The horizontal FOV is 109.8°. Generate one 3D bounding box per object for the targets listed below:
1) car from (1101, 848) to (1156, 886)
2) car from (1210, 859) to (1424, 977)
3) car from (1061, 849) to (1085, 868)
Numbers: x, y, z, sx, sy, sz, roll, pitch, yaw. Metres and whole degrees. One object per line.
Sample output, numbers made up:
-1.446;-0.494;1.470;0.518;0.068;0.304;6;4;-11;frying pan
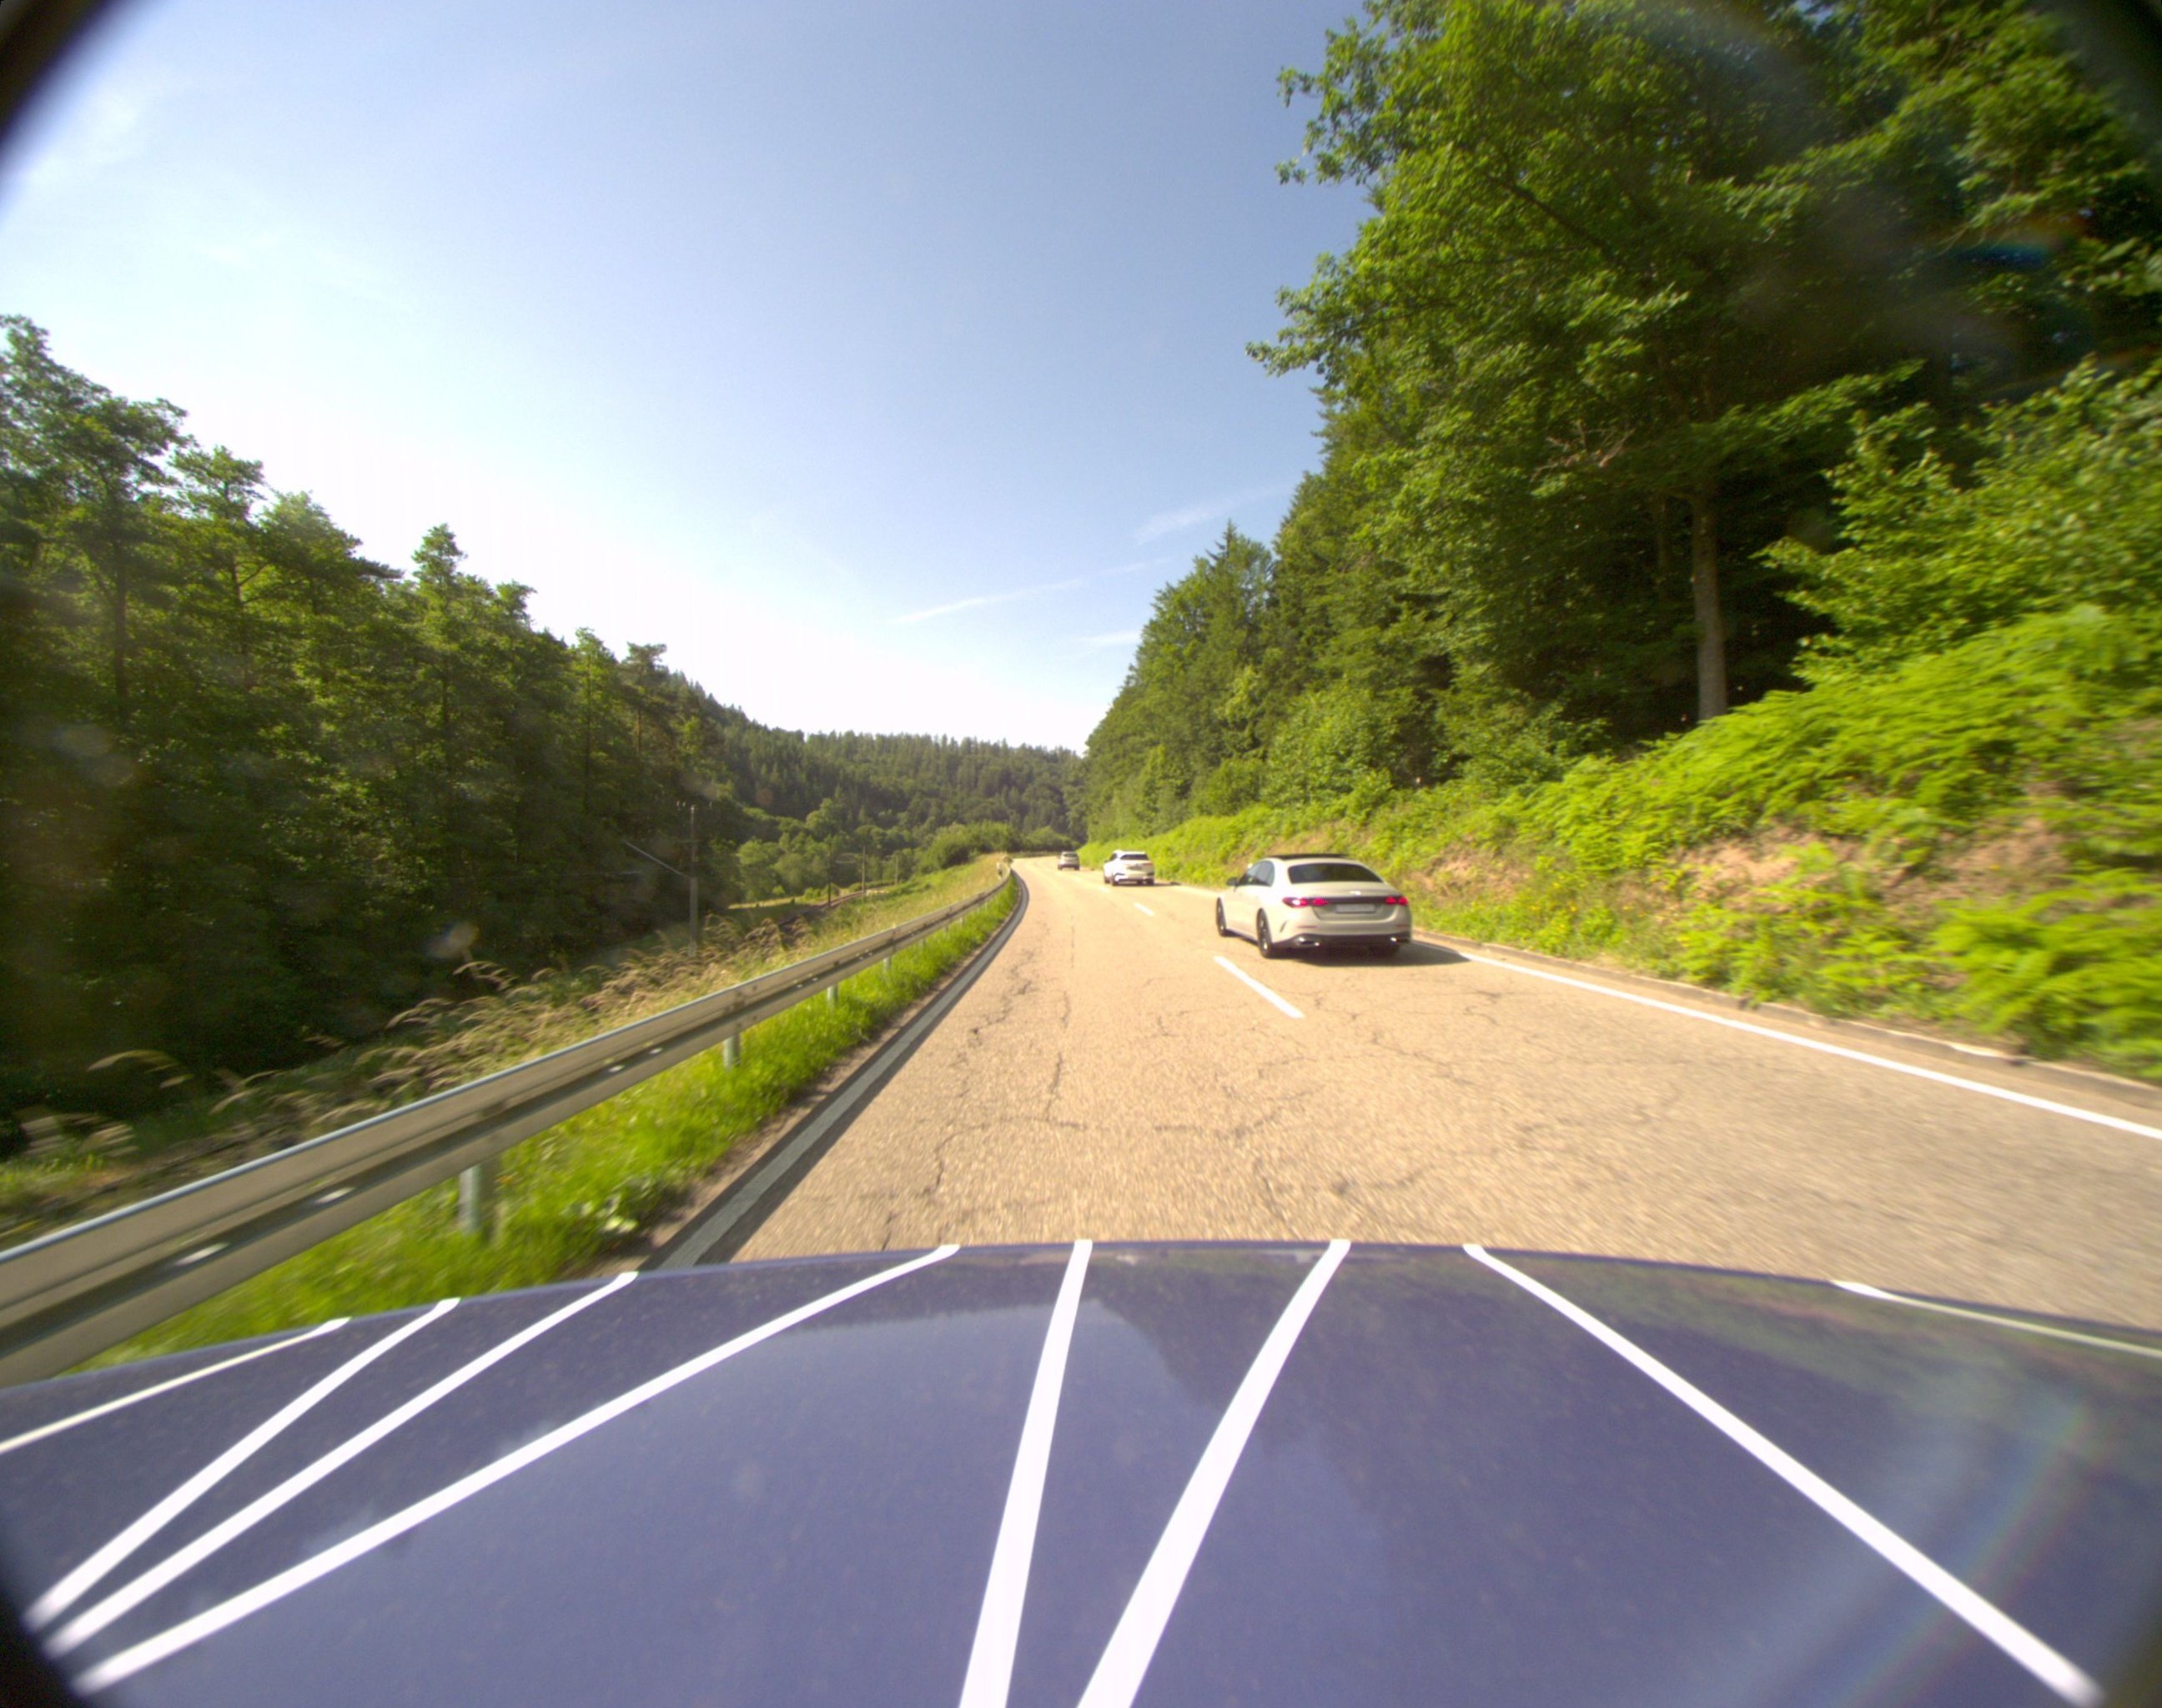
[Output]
2.246;0.626;37.080;1.999;1.672;4.904;-2;0;-4;car
3.367;0.825;11.890;1.838;1.422;4.677;-1;0;-1;car
-0.773;0.456;68.580;1.873;1.614;4.472;-2;0;-4;car
